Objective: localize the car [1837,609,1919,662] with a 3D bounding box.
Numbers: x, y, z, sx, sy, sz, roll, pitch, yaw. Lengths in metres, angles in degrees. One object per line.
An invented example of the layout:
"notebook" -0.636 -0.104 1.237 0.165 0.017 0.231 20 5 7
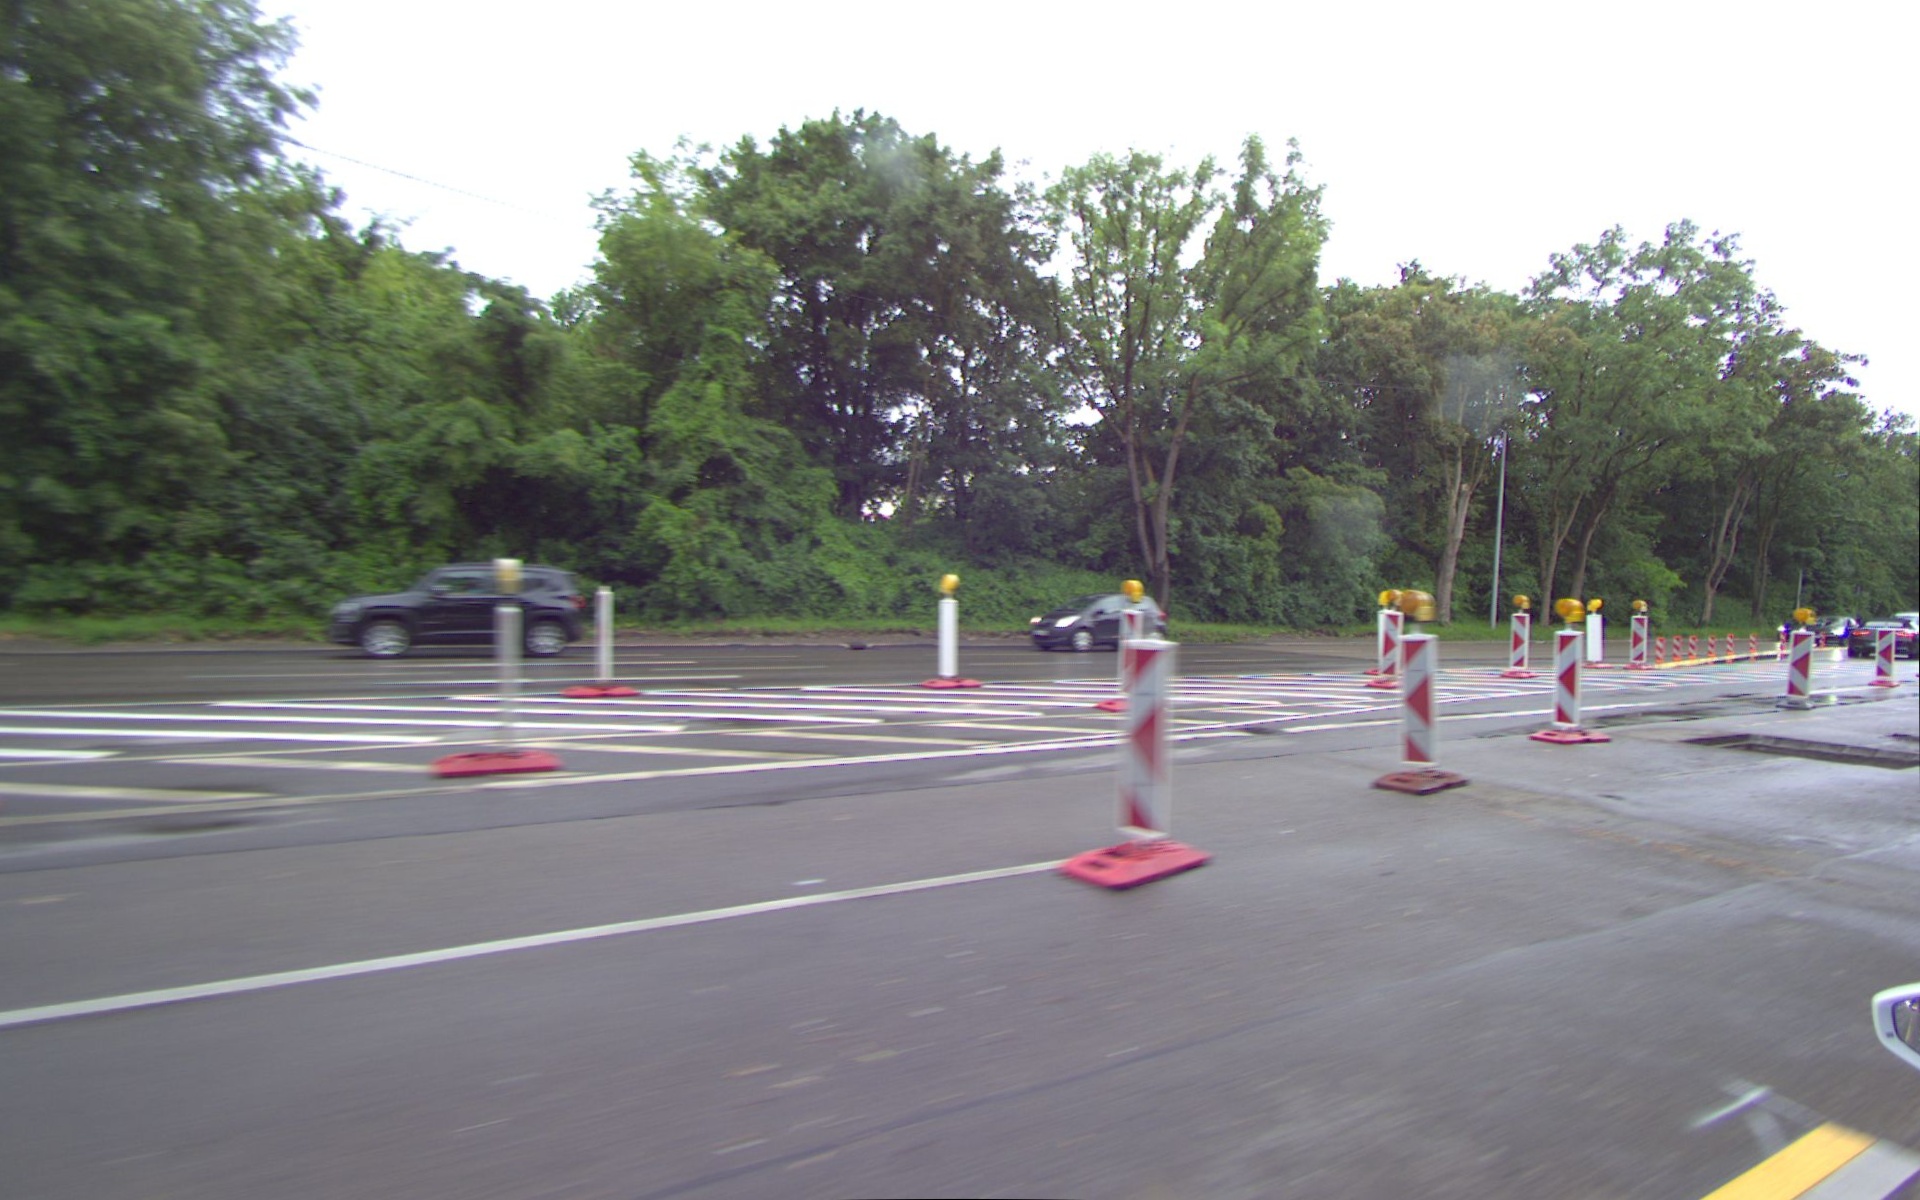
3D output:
"car" 32.610 1.199 35.162 3.957 1.512 1.850 -2 4 -34

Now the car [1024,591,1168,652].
"car" 3.505 0.555 25.824 3.499 1.476 1.518 1 -1 -31

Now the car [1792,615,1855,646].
"car" 41.330 1.455 48.064 3.787 1.426 1.417 1 0 -36

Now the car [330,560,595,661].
"car" -8.970 0.192 18.306 4.150 1.669 1.627 1 0 -30
